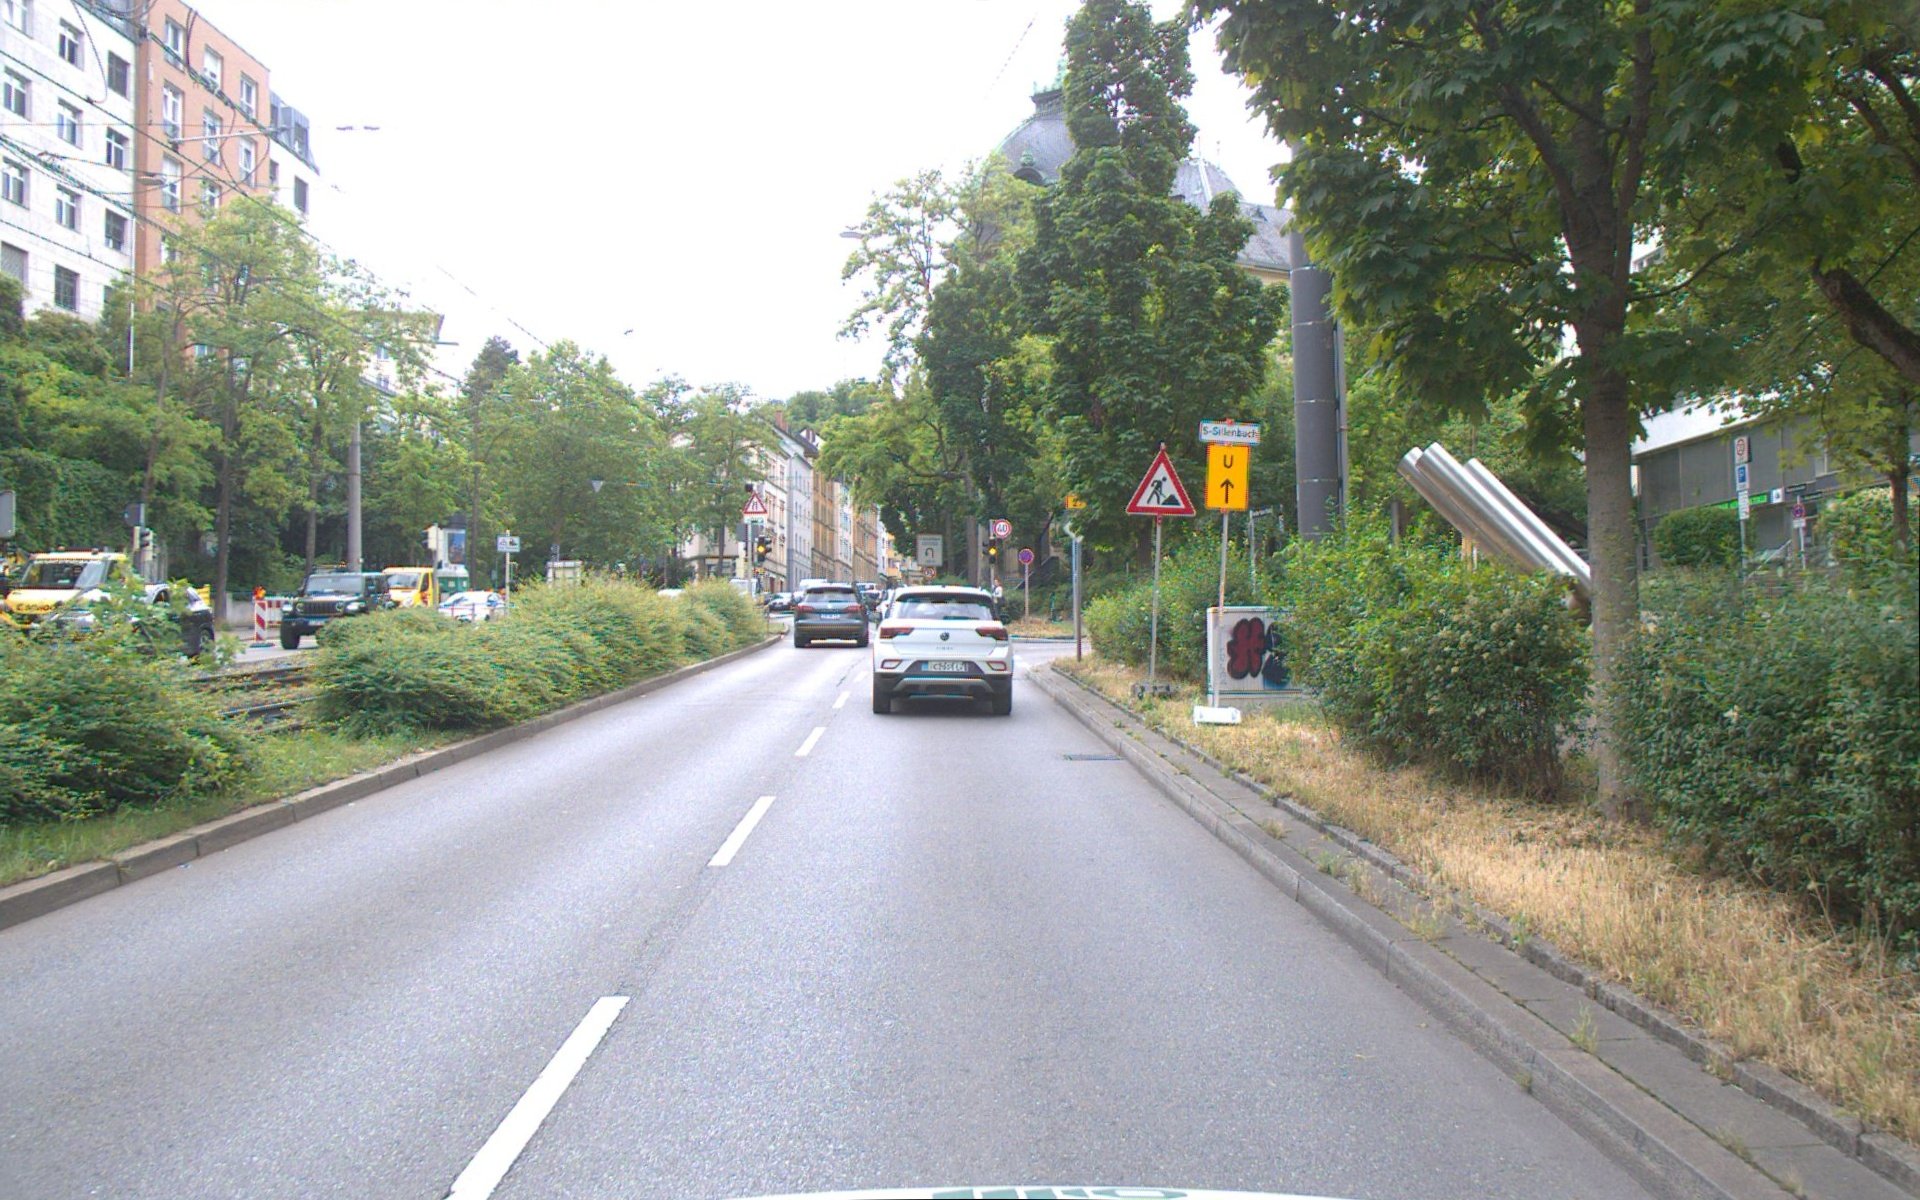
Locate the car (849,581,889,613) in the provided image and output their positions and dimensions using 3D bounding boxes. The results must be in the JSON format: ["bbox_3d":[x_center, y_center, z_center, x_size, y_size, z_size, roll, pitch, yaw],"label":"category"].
[{"bbox_3d":[-6.690,-0.218,122.440,2.372,2.207,6.034,2,0,1],"label":"car"}]

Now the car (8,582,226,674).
[{"bbox_3d":[-15.432,0.511,30.575,1.827,1.582,4.436,0,-1,-1],"label":"car"}]

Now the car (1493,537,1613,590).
[{"bbox_3d":[23.796,-1.460,66.415,4.052,2.049,1.996,-1,0,-8],"label":"car"}]

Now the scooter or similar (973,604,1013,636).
[{"bbox_3d":[1.065,0.641,53.507,1.166,1.011,0.530,-1,0,-12],"label":"scooter or similar"}]

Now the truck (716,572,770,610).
[{"bbox_3d":[-14.306,-0.631,109.467,2.371,2.207,6.037,2,2,4],"label":"truck"}]

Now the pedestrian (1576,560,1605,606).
[{"bbox_3d":[21.123,-0.569,55.409,0.551,1.526,0.672,-1,0,-27],"label":"pedestrian"}]

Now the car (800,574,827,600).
[{"bbox_3d":[-12.219,-1.080,138.157,1.953,2.049,3.999,-1,0,-1],"label":"car"}]

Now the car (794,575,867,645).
[{"bbox_3d":[-3.425,0.263,44.429,1.802,1.770,3.998,0,0,-3],"label":"car"}]

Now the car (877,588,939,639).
[{"bbox_3d":[-1.933,0.510,60.092,1.955,1.652,3.994,-1,-2,-6],"label":"car"}]

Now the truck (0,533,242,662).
[{"bbox_3d":[-19.367,0.066,37.697,2.858,2.554,7.151,2,-2,-1],"label":"truck"}]

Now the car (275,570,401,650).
[{"bbox_3d":[-16.069,0.270,42.971,1.862,1.909,4.637,1,-1,-6],"label":"car"}]

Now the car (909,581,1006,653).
[{"bbox_3d":[-0.116,0.459,41.088,1.867,1.602,3.827,2,-2,-8],"label":"car"}]

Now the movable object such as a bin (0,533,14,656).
[{"bbox_3d":[-23.639,-0.125,38.694,1.955,2.888,2.027,0,-1,-7],"label":"movable object such as a bin"}]

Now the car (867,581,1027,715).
[{"bbox_3d":[-0.191,0.575,21.704,1.899,1.594,4.045,0,0,-1],"label":"car"}]

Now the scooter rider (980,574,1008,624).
[{"bbox_3d":[1.095,-0.029,53.521,0.764,1.585,0.530,-1,0,-14],"label":"scooter rider"}]

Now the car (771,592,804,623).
[{"bbox_3d":[-12.643,0.572,121.113,1.953,2.049,3.998,2,-2,-1],"label":"car"}]

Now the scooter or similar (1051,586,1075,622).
[{"bbox_3d":[3.482,0.137,56.165,0.465,1.119,1.365,-2,-3,-10],"label":"scooter or similar"}]
